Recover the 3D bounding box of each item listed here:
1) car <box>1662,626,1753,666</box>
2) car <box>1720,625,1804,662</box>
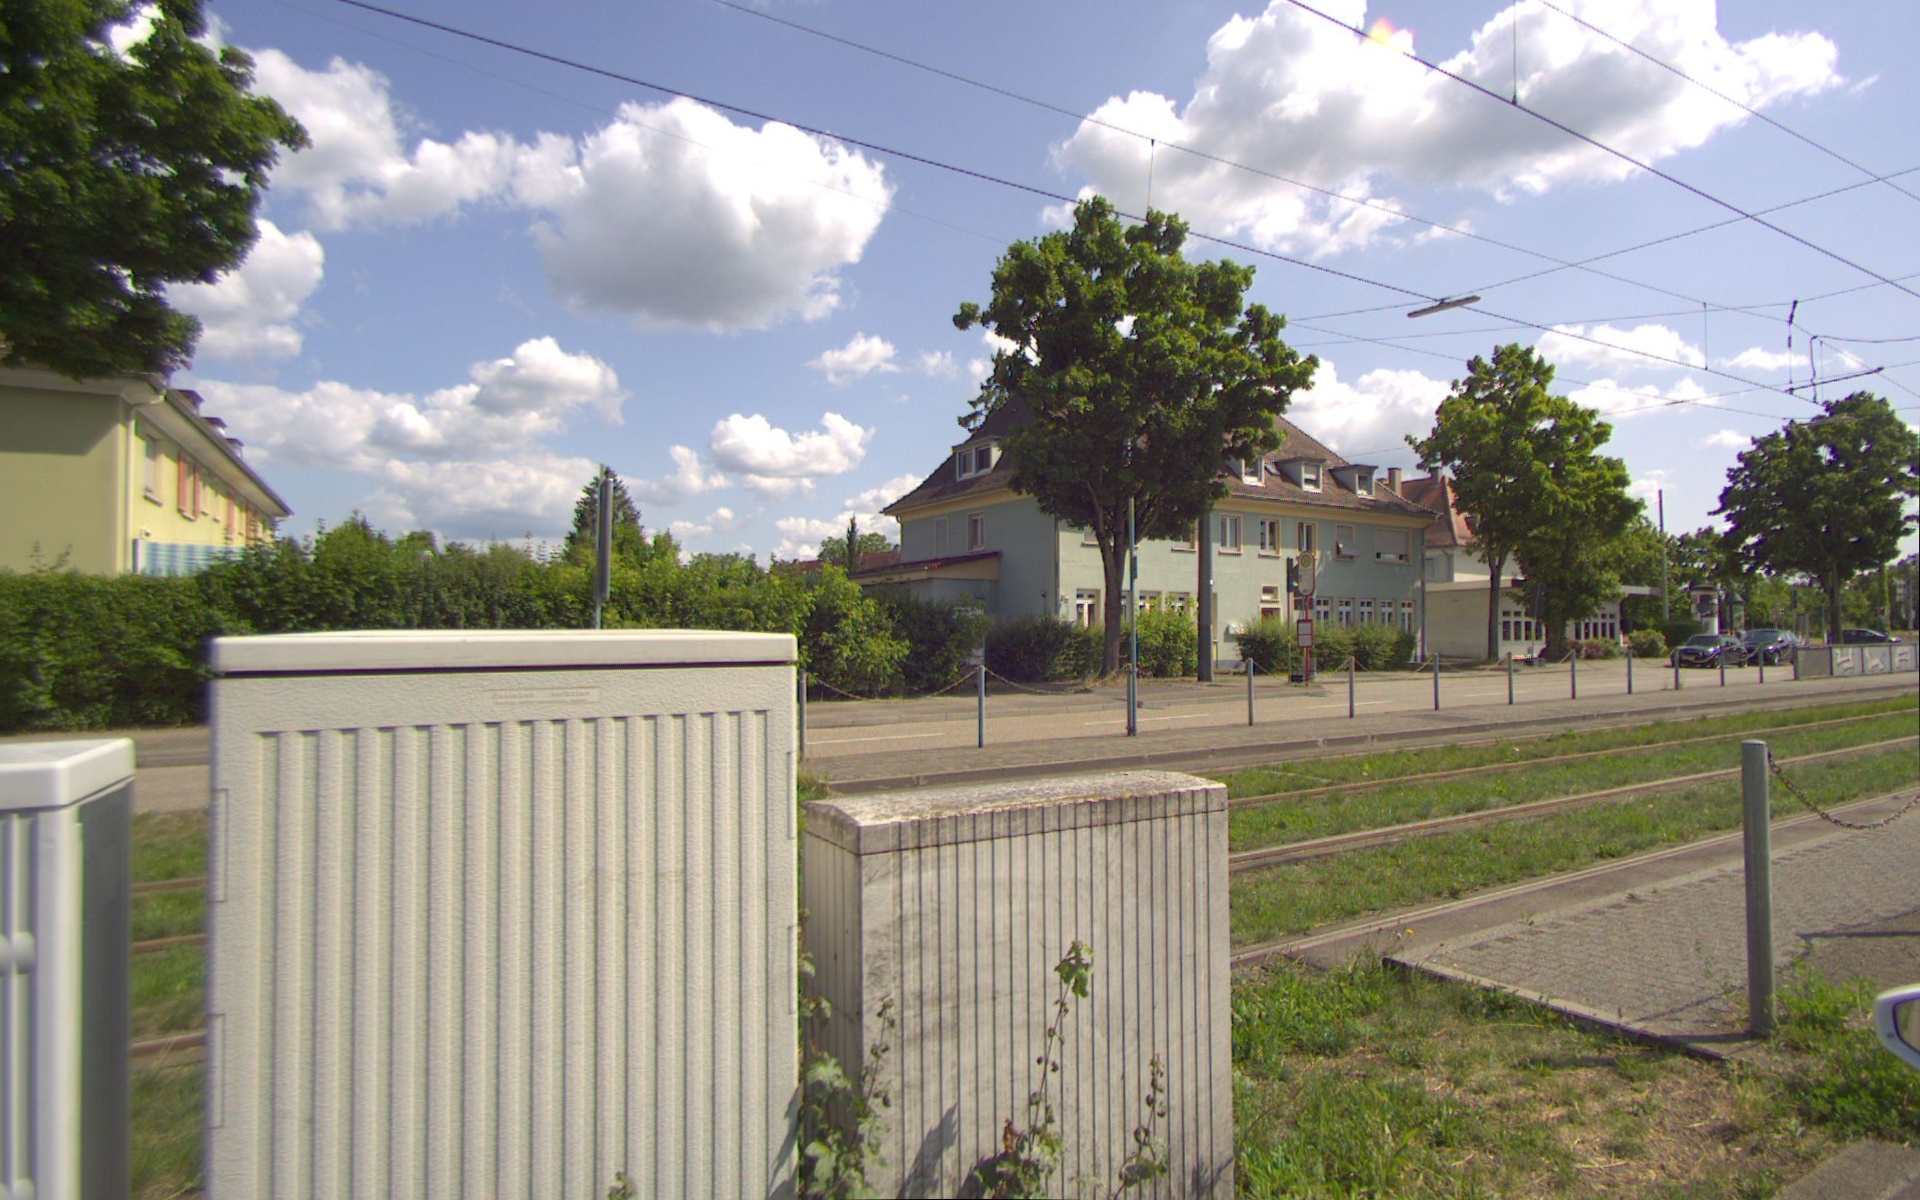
[{"bbox_3d":[32.174,1.947,43.218,3.885,1.605,1.778,1,-2,-31],"label":"car"},{"bbox_3d":[37.284,1.999,46.678,4.711,1.635,2.045,1,-2,-38],"label":"car"}]
